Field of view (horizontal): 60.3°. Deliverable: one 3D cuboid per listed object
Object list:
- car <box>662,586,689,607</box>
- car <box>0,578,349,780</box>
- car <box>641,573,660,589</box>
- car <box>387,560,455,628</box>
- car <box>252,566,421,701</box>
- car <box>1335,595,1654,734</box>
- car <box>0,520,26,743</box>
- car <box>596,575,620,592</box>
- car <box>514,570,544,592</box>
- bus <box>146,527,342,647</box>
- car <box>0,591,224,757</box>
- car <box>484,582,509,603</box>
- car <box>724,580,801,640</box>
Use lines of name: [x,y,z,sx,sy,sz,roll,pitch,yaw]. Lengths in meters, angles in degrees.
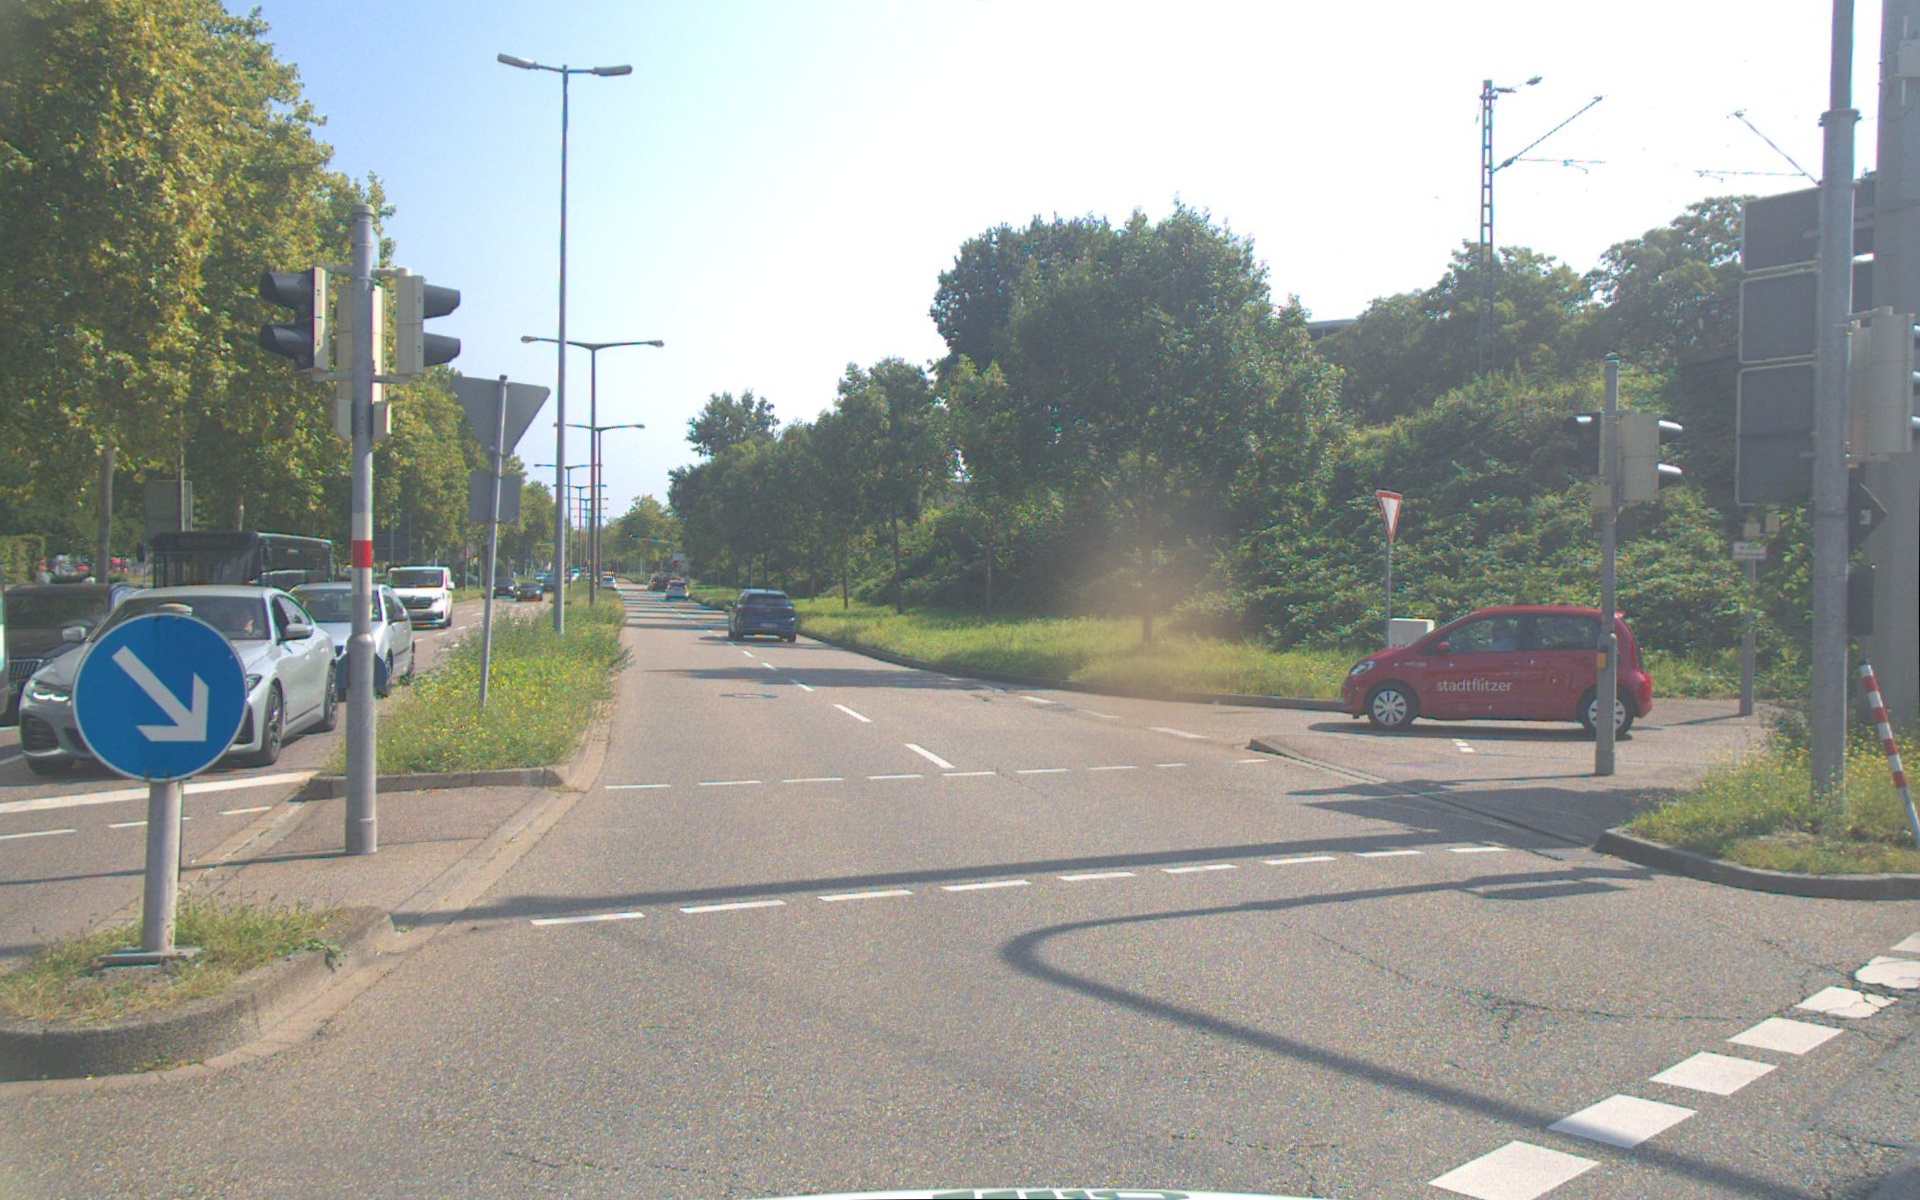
car: [-23.253,-0.314,135.042,1.959,1.683,3.988,0,0,-12]
car: [-6.781,0.564,14.825,1.804,1.468,4.591,-2,1,-13]
car: [-35.799,-2.209,191.170,1.959,1.683,3.988,3,1,-13]
car: [-17.163,-0.258,52.837,1.896,1.994,5.166,-2,2,-17]
car: [-8.126,0.391,21.847,1.587,1.562,4.086,-2,1,-14]
car: [6.335,0.714,19.707,3.468,1.493,1.644,0,1,20]
car: [-9.102,0.334,12.746,1.894,1.992,5.196,0,1,-13]
car: [-35.905,-1.684,168.730,1.956,1.731,3.994,0,0,-7]
car: [-31.437,-1.354,120.745,1.813,1.515,4.631,-2,1,-11]
bus: [-18.775,-0.343,44.131,2.615,2.741,10.873,-2,1,-12]
car: [-11.068,0.844,21.495,1.687,1.881,4.690,-2,1,-11]
car: [-37.241,-0.587,132.780,1.816,1.633,4.589,1,0,-17]
car: [-5.724,0.257,47.672,1.750,1.452,3.988,2,3,-13]
